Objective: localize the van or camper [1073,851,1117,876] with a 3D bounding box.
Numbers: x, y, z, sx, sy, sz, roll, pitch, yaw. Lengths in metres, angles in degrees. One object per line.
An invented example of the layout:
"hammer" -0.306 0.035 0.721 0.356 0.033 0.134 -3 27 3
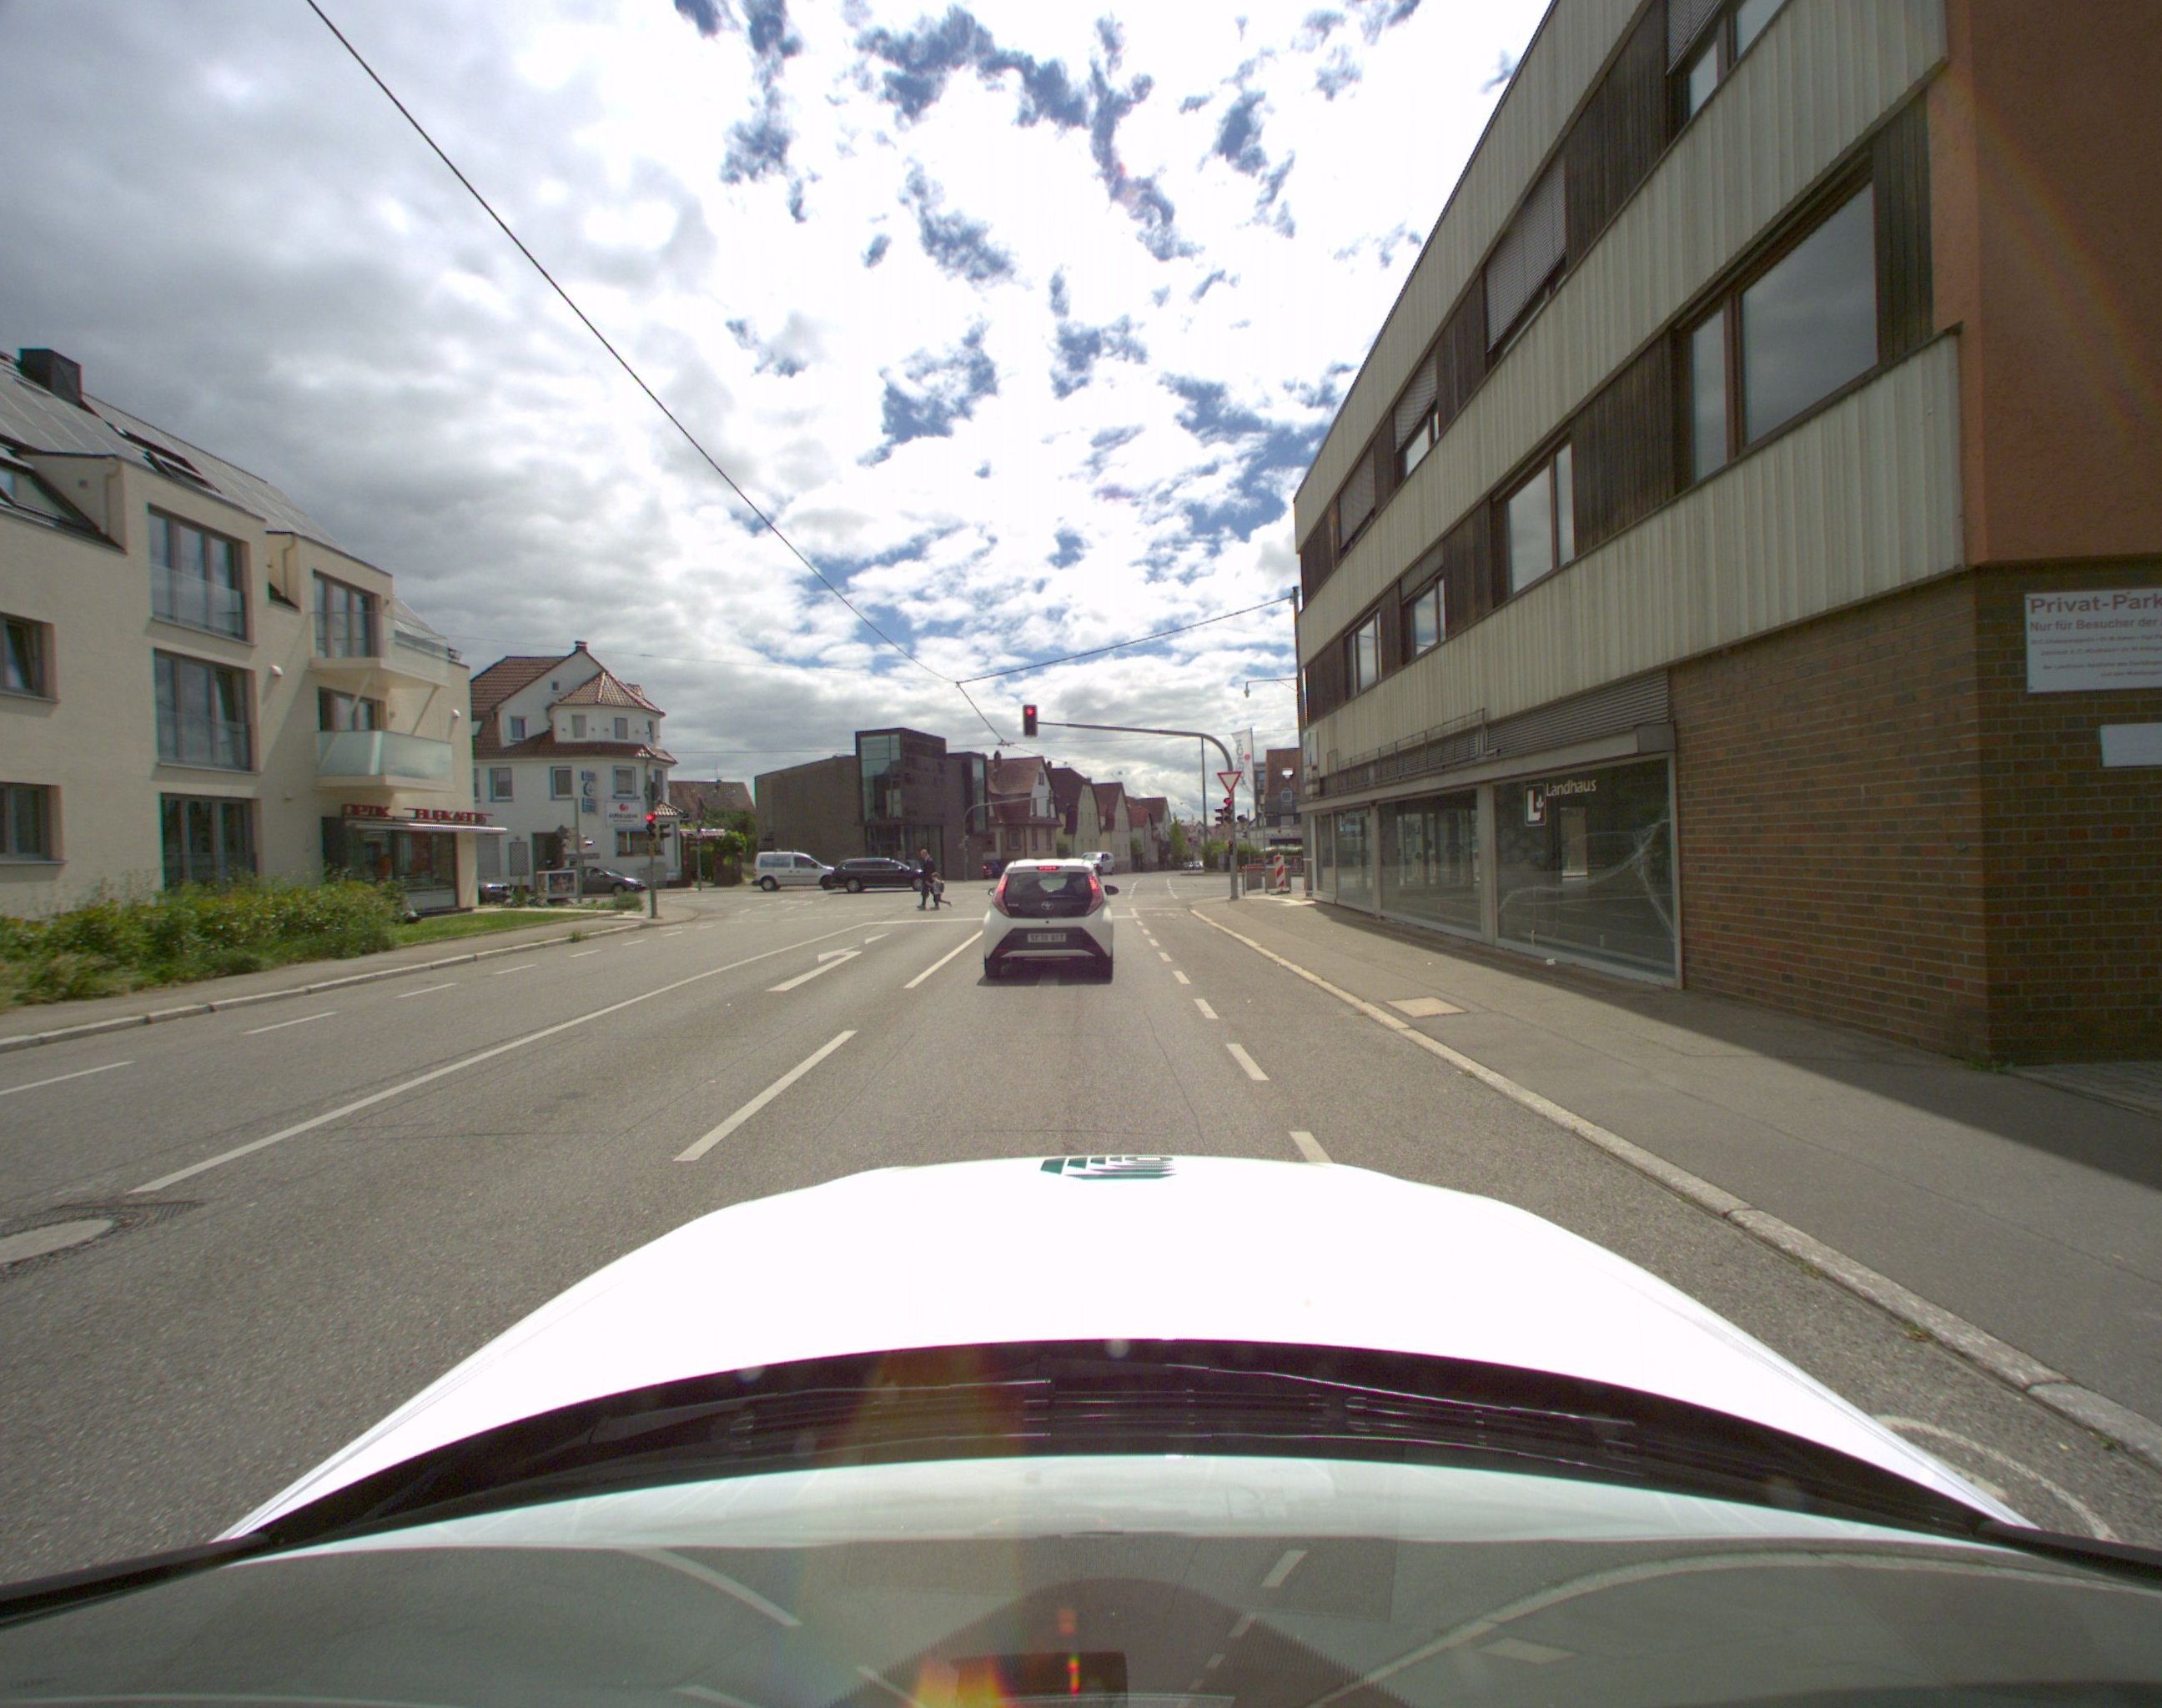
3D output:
"van or camper" 1.156 0.717 63.510 2.099 1.926 5.308 0 0 16

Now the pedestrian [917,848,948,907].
"pedestrian" -4.476 0.701 24.555 0.824 1.721 0.813 -1 0 -16

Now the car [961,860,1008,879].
"car" -8.200 1.279 69.295 3.590 1.605 1.697 0 0 12

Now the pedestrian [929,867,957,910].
"pedestrian" -4.081 1.003 24.000 0.734 1.221 0.642 -1 0 -15

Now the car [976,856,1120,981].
"car" -0.399 0.762 11.212 1.692 1.456 3.298 0 0 -1

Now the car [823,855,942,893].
"car" -8.656 0.840 35.904 4.892 1.577 1.995 0 0 -7

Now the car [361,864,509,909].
"car" -26.473 1.301 33.516 4.292 1.675 1.993 -1 0 -10

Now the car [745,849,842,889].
"car" -13.567 0.680 38.664 4.061 1.849 1.993 0 0 -11

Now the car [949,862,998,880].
"car" -8.800 1.365 66.685 3.590 1.419 1.697 0 0 12

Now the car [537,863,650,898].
"car" -22.238 1.179 37.344 3.991 1.486 1.991 0 0 -13
